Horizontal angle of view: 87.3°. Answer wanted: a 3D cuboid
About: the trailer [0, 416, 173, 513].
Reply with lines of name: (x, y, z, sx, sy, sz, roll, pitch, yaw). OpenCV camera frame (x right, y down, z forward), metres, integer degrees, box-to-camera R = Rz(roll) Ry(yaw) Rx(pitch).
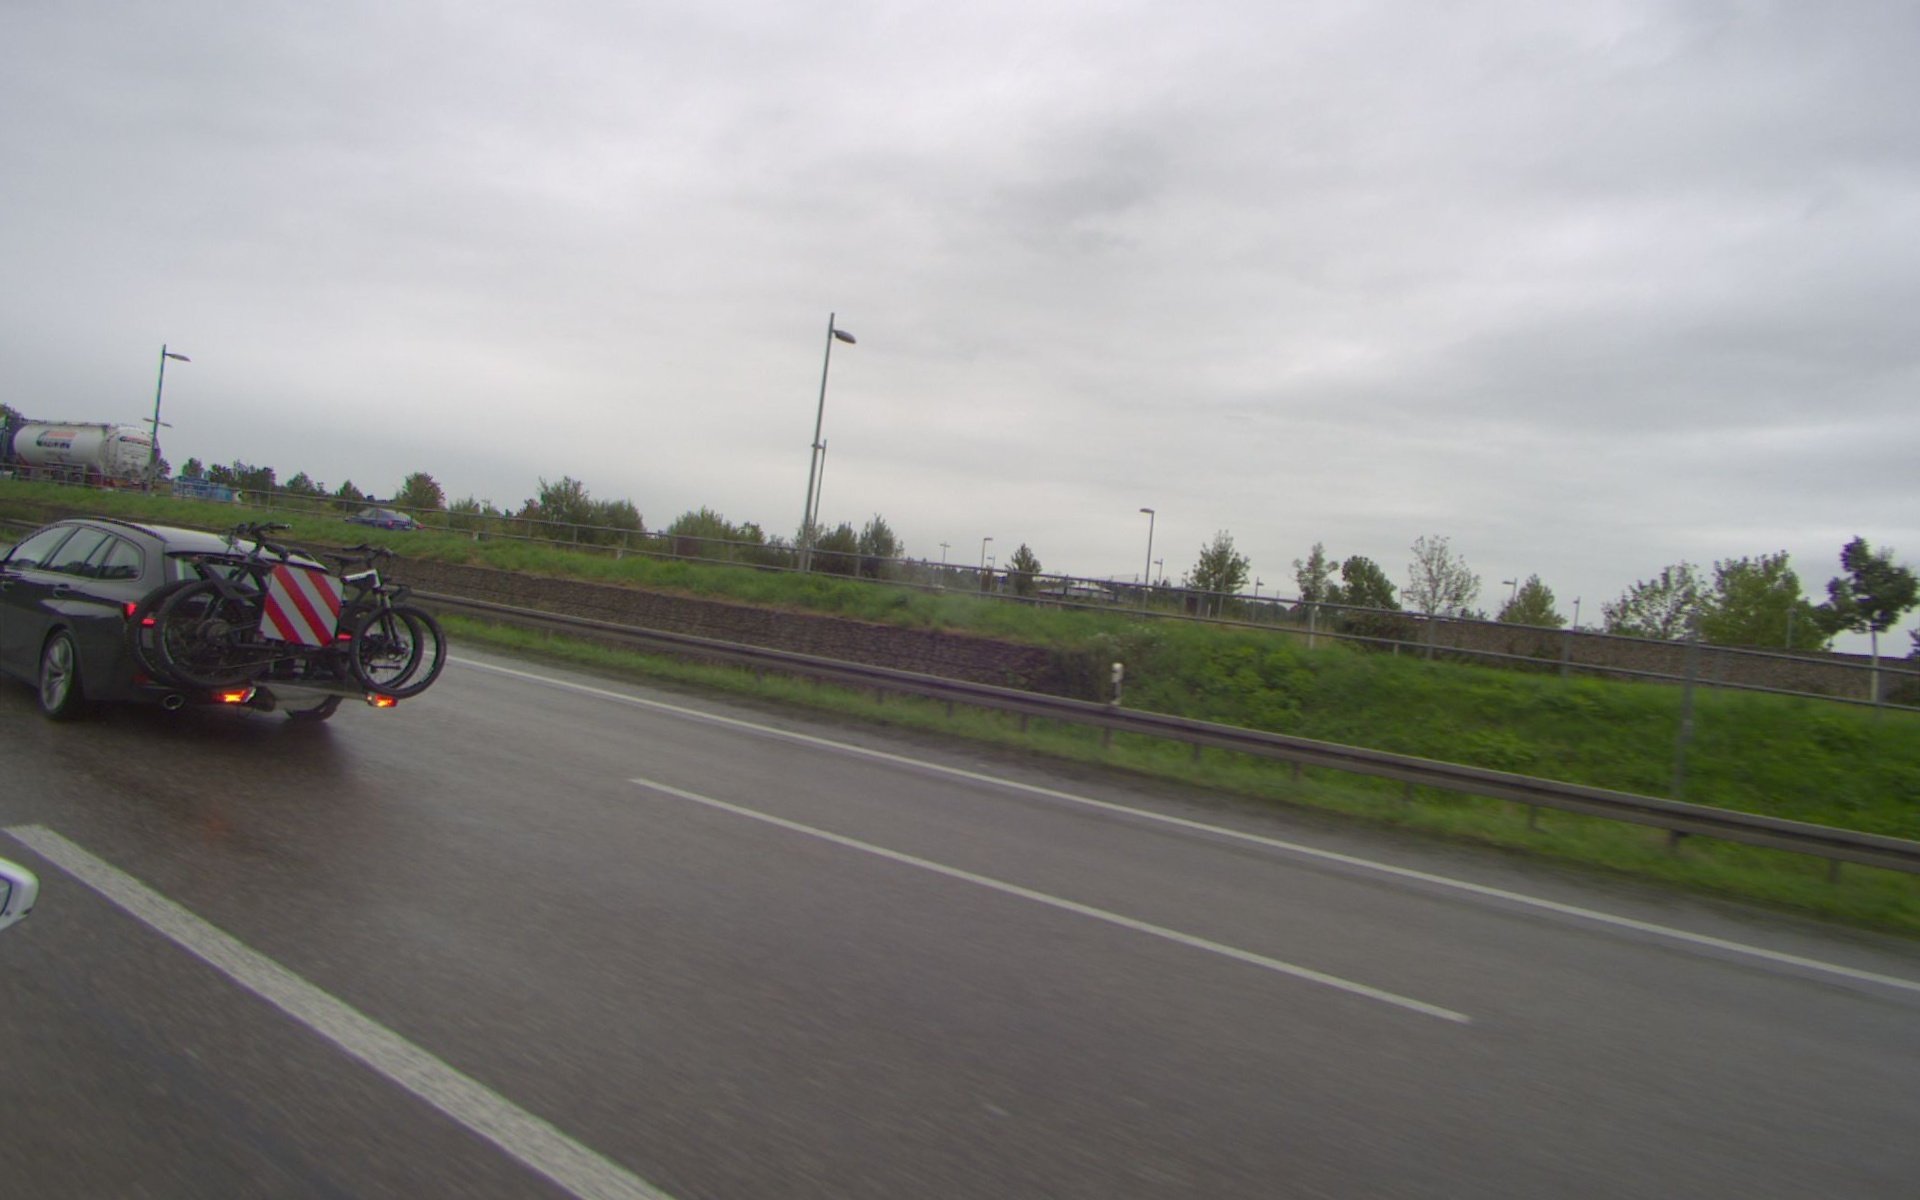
trailer: (-46.110, -7.212, 52.849, 12.740, 4.208, 2.988, 7, 1, 32)

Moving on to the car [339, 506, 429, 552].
car: (-26.356, -3.240, 46.021, 3.933, 1.645, 1.790, 7, 0, 32)

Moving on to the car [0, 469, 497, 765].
car: (-6.461, -0.006, 8.239, 5.430, 1.690, 2.062, 6, -2, 32)

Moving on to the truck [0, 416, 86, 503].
truck: (-52.119, -7.900, 56.584, 4.841, 4.197, 2.952, 7, 1, 32)
